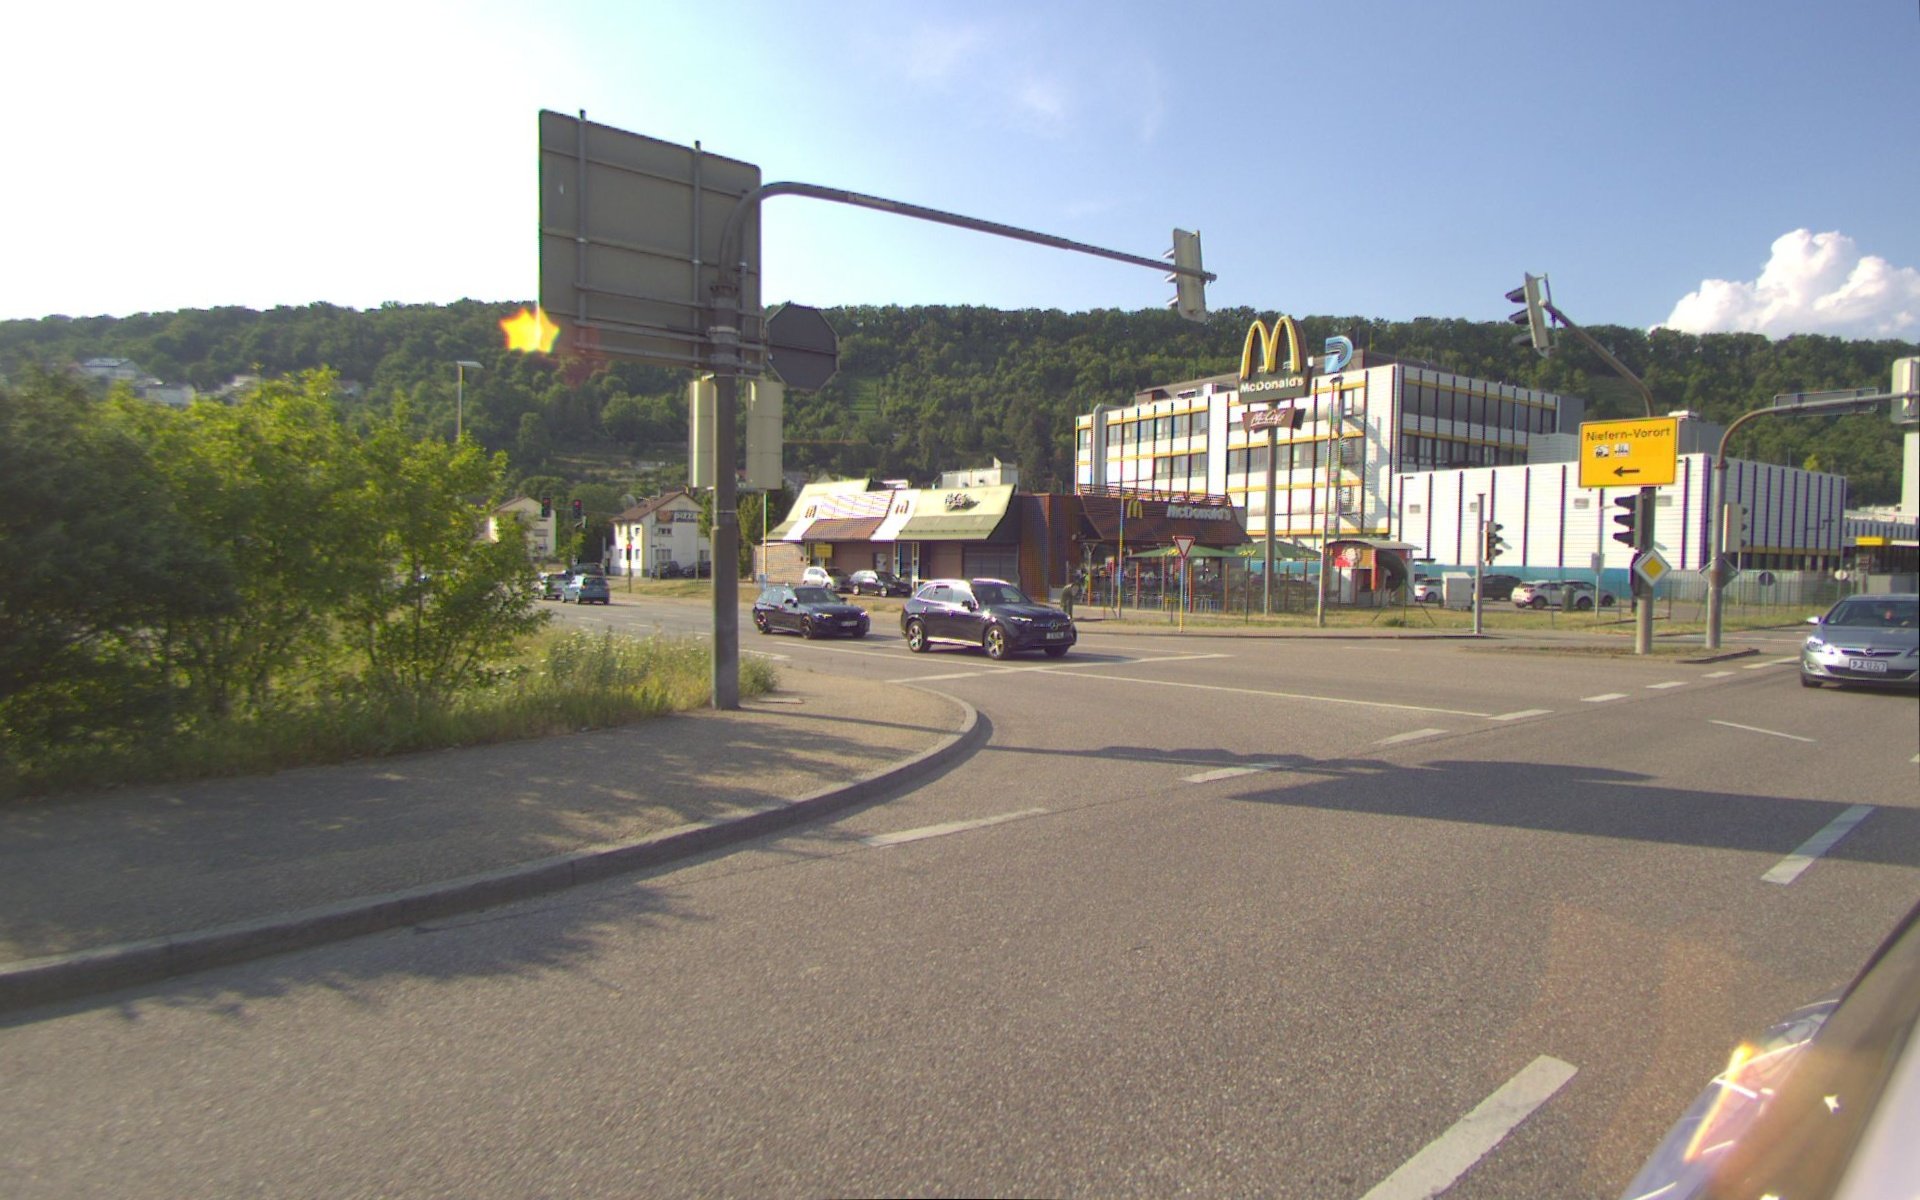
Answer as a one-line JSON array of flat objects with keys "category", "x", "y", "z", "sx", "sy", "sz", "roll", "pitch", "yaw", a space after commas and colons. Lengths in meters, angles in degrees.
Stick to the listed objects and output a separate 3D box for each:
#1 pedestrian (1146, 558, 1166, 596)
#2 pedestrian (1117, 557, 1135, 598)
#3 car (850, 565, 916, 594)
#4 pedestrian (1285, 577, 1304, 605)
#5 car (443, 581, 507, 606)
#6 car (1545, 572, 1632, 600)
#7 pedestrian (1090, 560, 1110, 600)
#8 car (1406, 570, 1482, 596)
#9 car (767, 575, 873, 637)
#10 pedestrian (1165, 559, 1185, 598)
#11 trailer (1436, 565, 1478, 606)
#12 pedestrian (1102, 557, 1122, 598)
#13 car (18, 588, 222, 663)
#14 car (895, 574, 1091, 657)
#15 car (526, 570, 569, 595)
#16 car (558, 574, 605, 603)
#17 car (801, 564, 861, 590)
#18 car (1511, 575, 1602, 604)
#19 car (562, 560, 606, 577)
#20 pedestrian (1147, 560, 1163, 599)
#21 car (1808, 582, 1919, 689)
[{"category": "pedestrian", "x": 10.607, "y": -1.253, "z": 54.704, "sx": 0.749, "sy": 2.039, "sz": 0.736, "roll": -1, "pitch": 1, "yaw": -36}, {"category": "pedestrian", "x": 8.289, "y": -1.110, "z": 50.546, "sx": 0.726, "sy": 2.039, "sz": 0.758, "roll": 0, "pitch": 1, "yaw": 20}, {"category": "car", "x": -4.342, "y": -1.200, "z": 56.765, "sx": 1.827, "sy": 1.475, "sz": 3.998, "roll": -2, "pitch": 4, "yaw": -38}, {"category": "pedestrian", "x": 15.949, "y": -0.435, "z": 48.225, "sx": 0.587, "sy": 1.353, "sz": 0.672, "roll": -1, "pitch": 1, "yaw": -43}, {"category": "car", "x": -35.794, "y": -0.533, "z": 74.801, "sx": 1.599, "sy": 1.749, "sz": 3.943, "roll": 0, "pitch": 1, "yaw": 40}, {"category": "car", "x": 35.870, "y": -0.796, "z": 57.807, "sx": 3.828, "sy": 1.523, "sz": 1.880, "roll": -1, "pitch": 1, "yaw": -6}, {"category": "pedestrian", "x": 7.173, "y": -1.022, "z": 51.813, "sx": 0.758, "sy": 2.039, "sz": 0.727, "roll": 0, "pitch": 1, "yaw": 34}, {"category": "car", "x": 28.517, "y": -1.006, "z": 59.632, "sx": 3.699, "sy": 1.473, "sz": 1.701, "roll": -1, "pitch": 1, "yaw": -7}, {"category": "car", "x": -4.076, "y": 0.120, "z": 28.923, "sx": 1.660, "sy": 1.616, "sz": 4.005, "roll": -1, "pitch": 1, "yaw": -29}, {"category": "pedestrian", "x": 11.420, "y": -1.156, "z": 53.737, "sx": 0.749, "sy": 2.039, "sz": 0.736, "roll": -1, "pitch": 1, "yaw": -36}, {"category": "trailer", "x": 24.980, "y": -0.756, "z": 50.910, "sx": 1.331, "sy": 1.971, "sz": 3.460, "roll": 3, "pitch": 2, "yaw": 18}, {"category": "pedestrian", "x": 7.657, "y": -1.145, "z": 51.047, "sx": 0.731, "sy": 2.039, "sz": 0.753, "roll": 0, "pitch": 1, "yaw": 36}, {"category": "car", "x": -20.335, "y": 0.556, "z": 24.672, "sx": 3.690, "sy": 1.649, "sz": 1.597, "roll": -2, "pitch": 1, "yaw": -39}, {"category": "car", "x": 0.603, "y": 0.267, "z": 22.213, "sx": 1.963, "sy": 1.604, "sz": 4.469, "roll": -1, "pitch": 1, "yaw": -36}, {"category": "car", "x": -24.749, "y": -1.050, "z": 60.705, "sx": 1.657, "sy": 1.438, "sz": 3.654, "roll": -1, "pitch": 1, "yaw": -34}, {"category": "car", "x": -20.762, "y": -0.645, "z": 55.481, "sx": 1.548, "sy": 1.504, "sz": 3.323, "roll": -1, "pitch": 1, "yaw": -37}, {"category": "car", "x": -7.834, "y": -1.428, "z": 61.163, "sx": 1.827, "sy": 1.475, "sz": 3.998, "roll": -2, "pitch": 4, "yaw": -38}, {"category": "car", "x": 32.356, "y": -0.582, "z": 54.950, "sx": 3.829, "sy": 1.523, "sz": 1.879, "roll": -1, "pitch": 1, "yaw": -4}, {"category": "car", "x": -38.454, "y": -3.189, "z": 103.530, "sx": 3.924, "sy": 1.690, "sz": 1.830, "roll": -2, "pitch": 1, "yaw": -35}, {"category": "pedestrian", "x": 10.279, "y": -1.096, "z": 53.325, "sx": 0.726, "sy": 2.039, "sz": 0.758, "roll": 0, "pitch": 1, "yaw": 20}, {"category": "car", "x": 14.603, "y": 0.474, "z": 15.569, "sx": 3.815, "sy": 1.408, "sz": 1.690, "roll": -2, "pitch": 3, "yaw": -39}]
